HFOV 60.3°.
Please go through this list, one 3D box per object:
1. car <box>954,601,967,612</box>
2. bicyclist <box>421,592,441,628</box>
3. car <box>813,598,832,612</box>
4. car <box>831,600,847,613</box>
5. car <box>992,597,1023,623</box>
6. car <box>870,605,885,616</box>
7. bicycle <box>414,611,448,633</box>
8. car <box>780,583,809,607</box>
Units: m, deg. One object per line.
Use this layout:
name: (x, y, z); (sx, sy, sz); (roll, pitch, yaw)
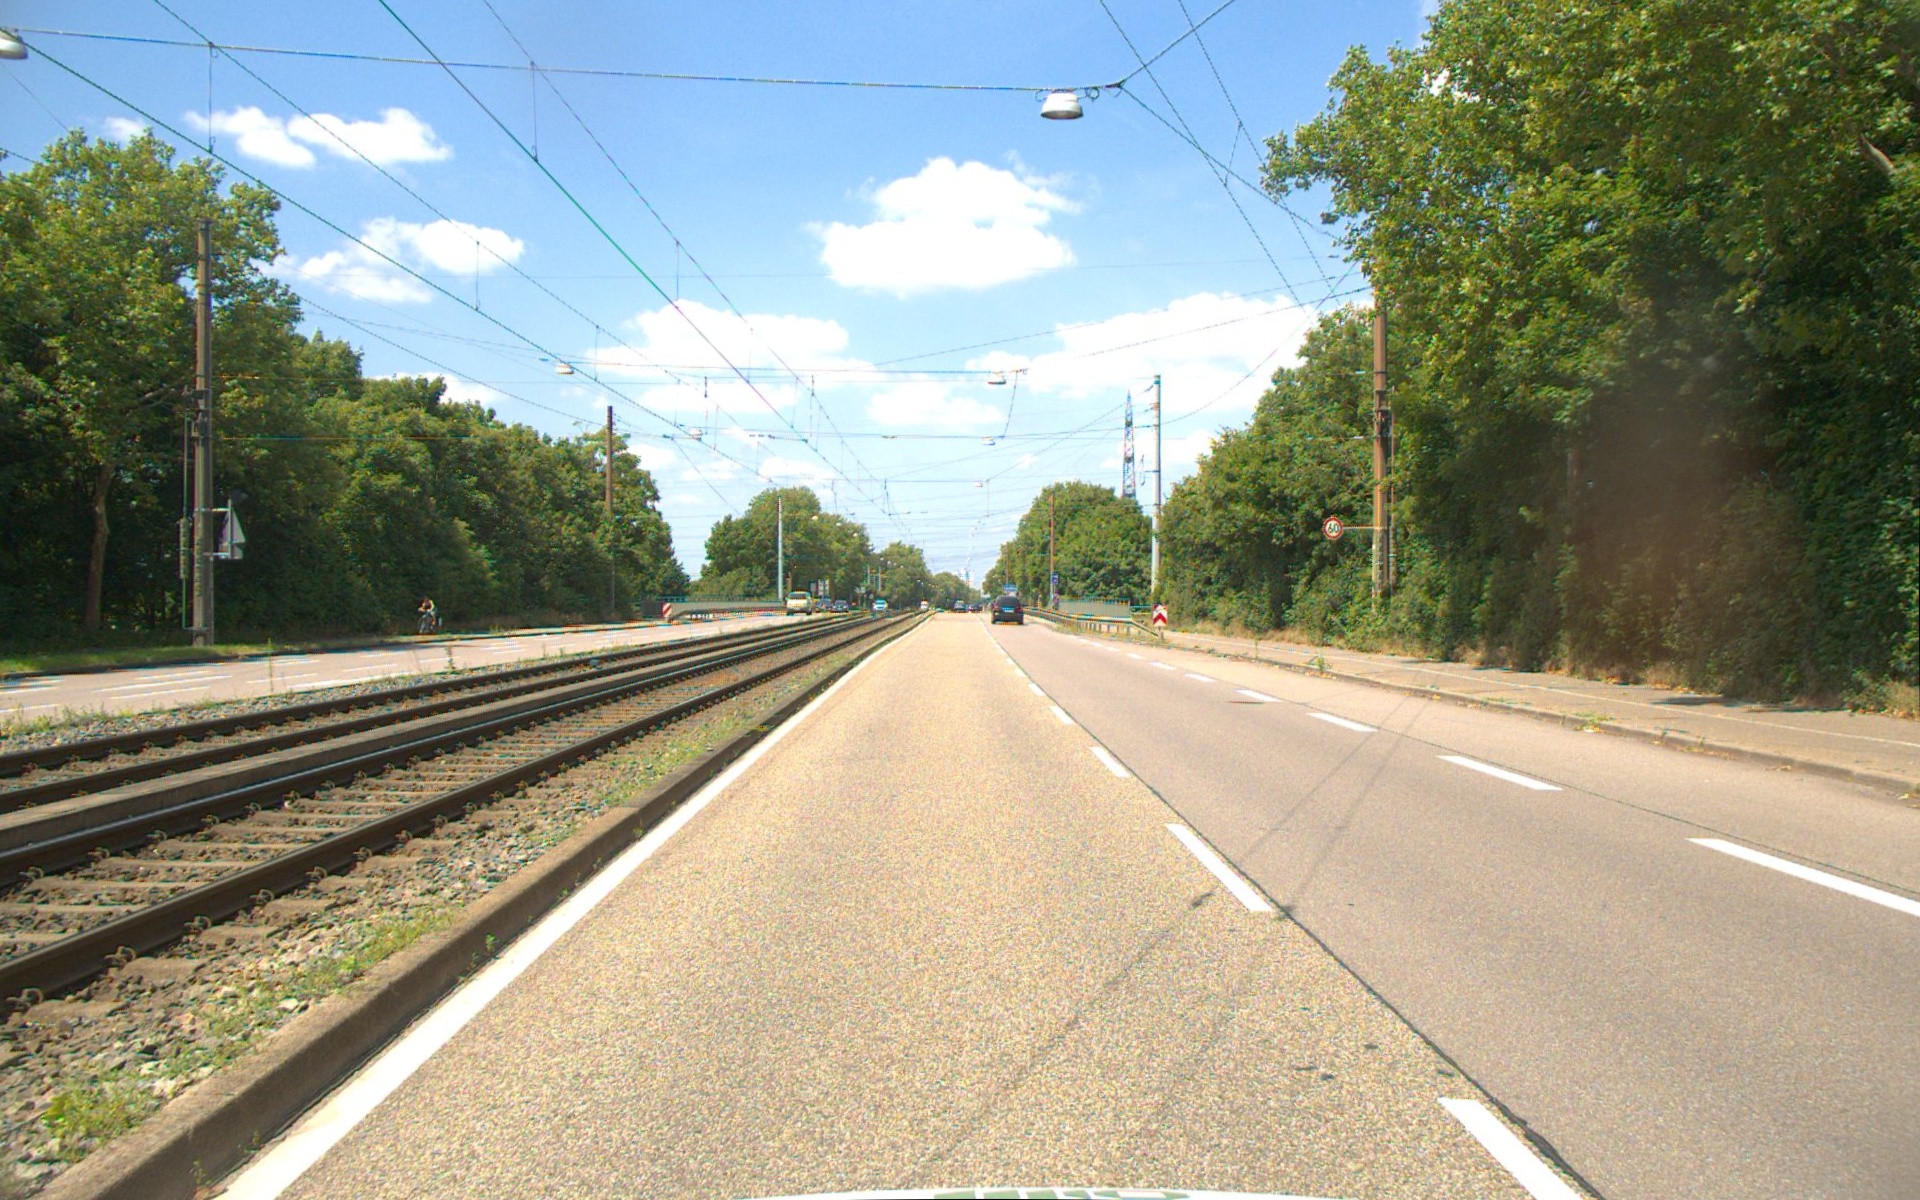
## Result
car: (0.076, 1.029, 261.847); (1.953, 1.557, 3.999); (1, 0, -1)
bicyclist: (-21.067, 0.408, 65.849); (0.557, 1.391, 0.631); (1, -1, 1)
car: (-13.869, 0.536, 167.045); (1.531, 1.371, 3.929); (-1, 0, 0)
car: (-13.764, 0.703, 187.688); (1.542, 1.424, 3.937); (-1, 0, 0)
car: (2.625, 0.536, 92.492); (1.554, 1.366, 3.271); (-1, 0, -1)
car: (-10.563, 1.361, 212.359); (1.676, 1.445, 4.624); (-1, 0, 0)
bicycle: (-21.061, 0.873, 65.873); (0.574, 0.833, 2.069); (-1, 0, 2)
car: (-13.766, -0.413, 137.708); (1.774, 1.959, 5.179); (-1, 0, 0)
